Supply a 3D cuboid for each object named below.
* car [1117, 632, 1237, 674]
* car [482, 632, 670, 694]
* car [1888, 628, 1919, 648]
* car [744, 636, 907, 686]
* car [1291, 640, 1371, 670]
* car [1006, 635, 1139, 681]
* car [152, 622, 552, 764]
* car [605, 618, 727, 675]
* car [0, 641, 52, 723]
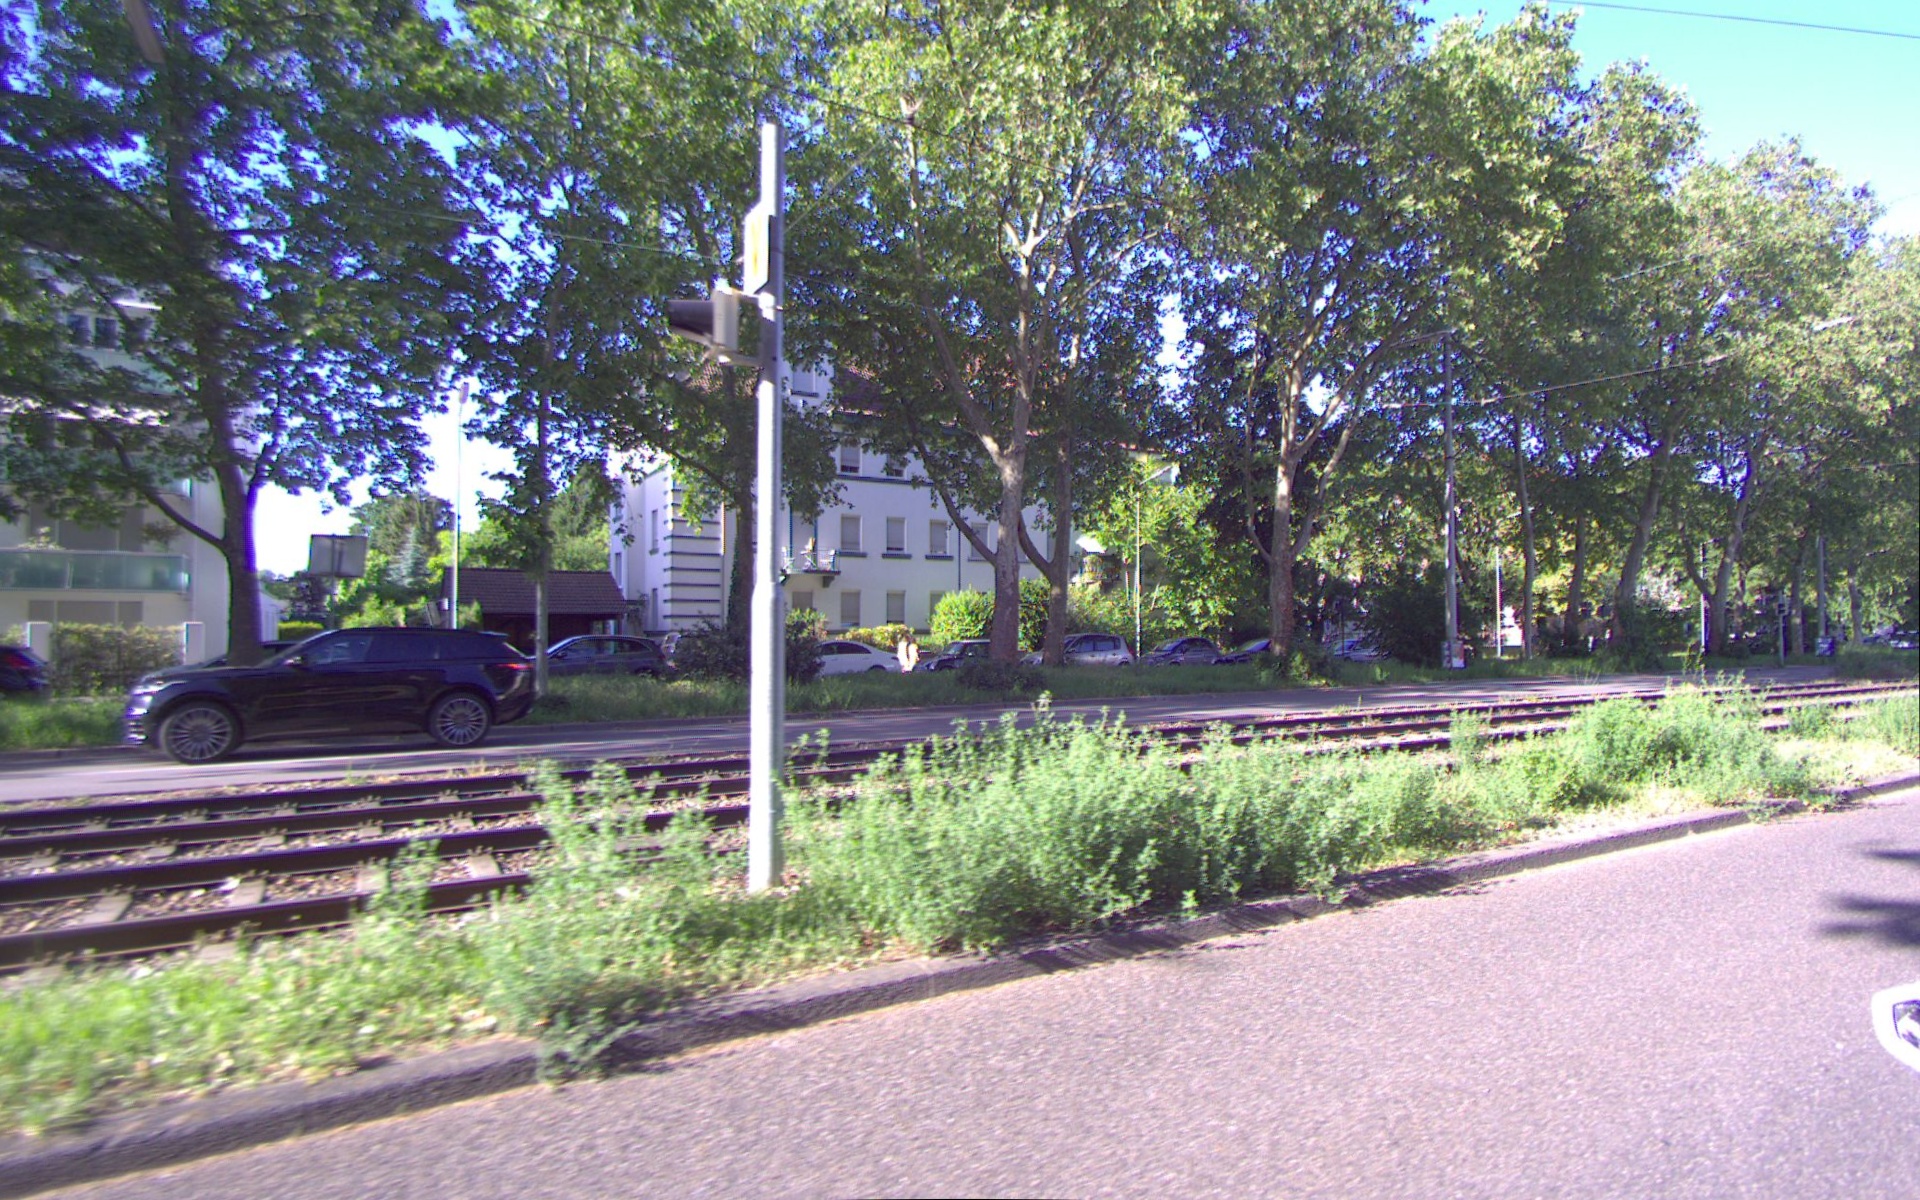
[{"bbox_3d":[7.986,1.916,36.923,4.268,1.460,1.776,1,-2,-30],"label":"car"},{"bbox_3d":[-9.847,1.559,25.808,4.268,1.472,1.984,1,-2,-30],"label":"car"},{"bbox_3d":[72.861,2.896,76.925,4.099,1.529,1.660,1,-2,-32],"label":"car"},{"bbox_3d":[-3.874,1.764,29.191,4.408,1.341,1.633,1,-4,-31],"label":"car"},{"bbox_3d":[15.033,2.197,40.697,3.184,1.131,1.463,1,-2,-34],"label":"car"},{"bbox_3d":[3.788,1.916,33.725,4.268,1.459,1.727,1,-2,-30],"label":"car"},{"bbox_3d":[-8.119,1.189,13.806,4.412,1.668,1.848,1,-4,-32],"label":"car"},{"bbox_3d":[-10.331,1.607,35.351,3.778,1.884,1.839,1,-2,-32],"label":"car"},{"bbox_3d":[-20.270,1.582,19.201,3.953,1.553,1.984,1,-2,-30],"label":"car"}]
